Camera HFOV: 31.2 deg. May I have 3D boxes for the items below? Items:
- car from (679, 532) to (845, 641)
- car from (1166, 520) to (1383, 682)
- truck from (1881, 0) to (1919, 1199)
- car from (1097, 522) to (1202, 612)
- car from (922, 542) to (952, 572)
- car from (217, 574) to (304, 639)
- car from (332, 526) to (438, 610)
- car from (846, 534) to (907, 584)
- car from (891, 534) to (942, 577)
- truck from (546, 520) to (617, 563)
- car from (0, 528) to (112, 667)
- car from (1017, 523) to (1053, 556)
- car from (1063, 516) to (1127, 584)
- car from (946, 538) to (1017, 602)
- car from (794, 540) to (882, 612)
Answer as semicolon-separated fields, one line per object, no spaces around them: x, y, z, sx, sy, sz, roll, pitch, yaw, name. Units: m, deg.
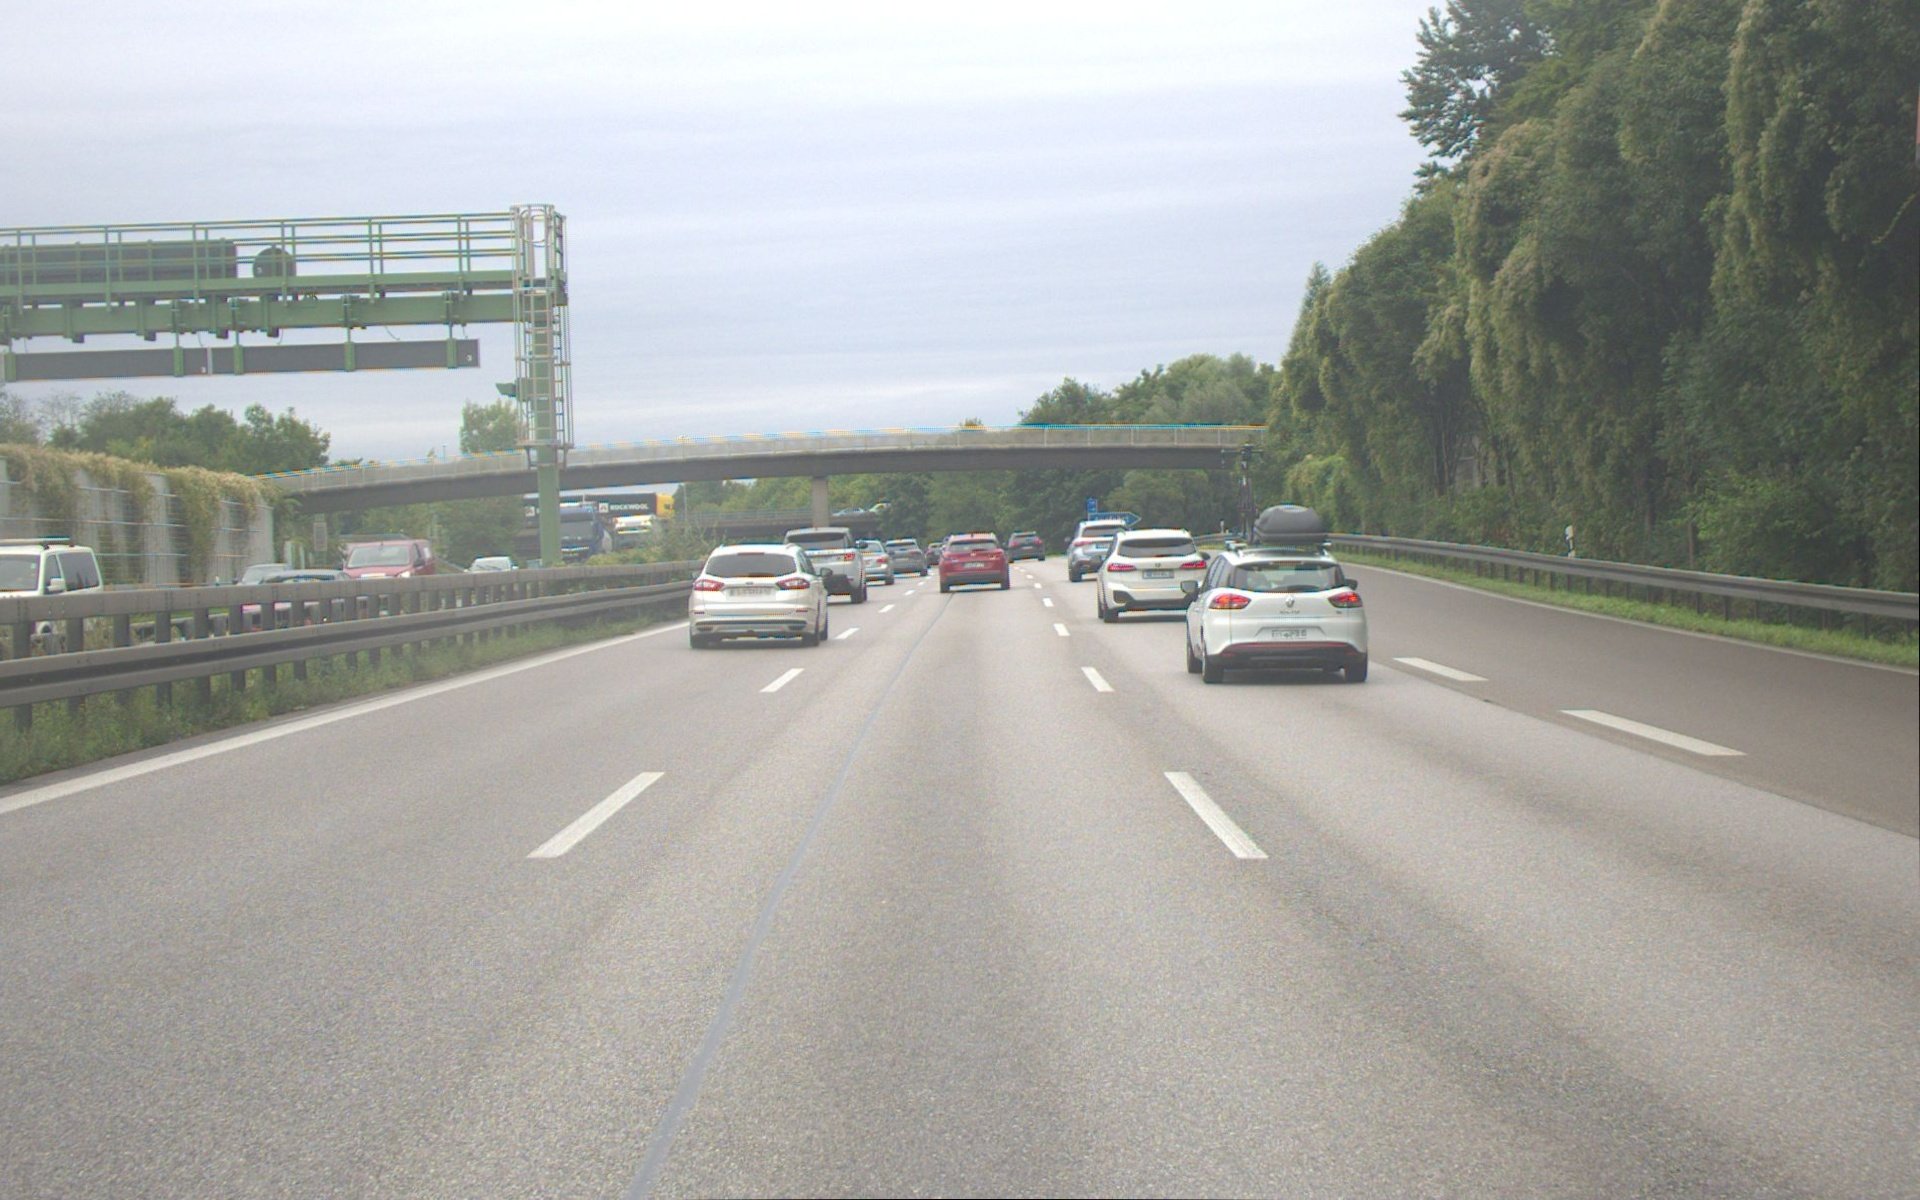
-2.823;-0.205;50.099;1.892;1.499;5.029;0;0;3;car
3.350;0.001;37.529;1.816;1.620;5.030;1;0;-1;car
3.550;-0.513;4.804;2.695;3.899;6.556;0;0;-1;truck
3.221;-0.547;59.044;1.689;1.501;3.871;0;0;2;car
-1.347;-2.449;197.582;1.689;1.634;3.871;-1;0;-1;car
-22.164;0.208;109.040;1.993;2.007;4.000;0;0;-1;car
-14.187;-0.778;84.970;1.993;2.007;4.000;0;0;-1;car
-2.662;-1.314;110.021;1.689;1.501;3.871;-2;1;2;car
-1.640;-1.718;130.933;1.689;1.501;3.871;4;1;2;car
-17.531;-2.714;159.459;2.585;1.803;5.971;4;1;0;truck
-14.427;-0.039;52.089;1.993;2.007;4.910;0;0;-1;car
3.603;-2.884;164.527;1.689;1.534;3.871;0;1;2;car
3.678;-1.352;94.085;1.689;1.773;3.871;0;0;2;car
0.532;-0.790;88.615;1.689;1.501;3.871;4;1;0;car
-2.810;-0.576;79.751;1.689;1.501;3.871;4;1;2;car
